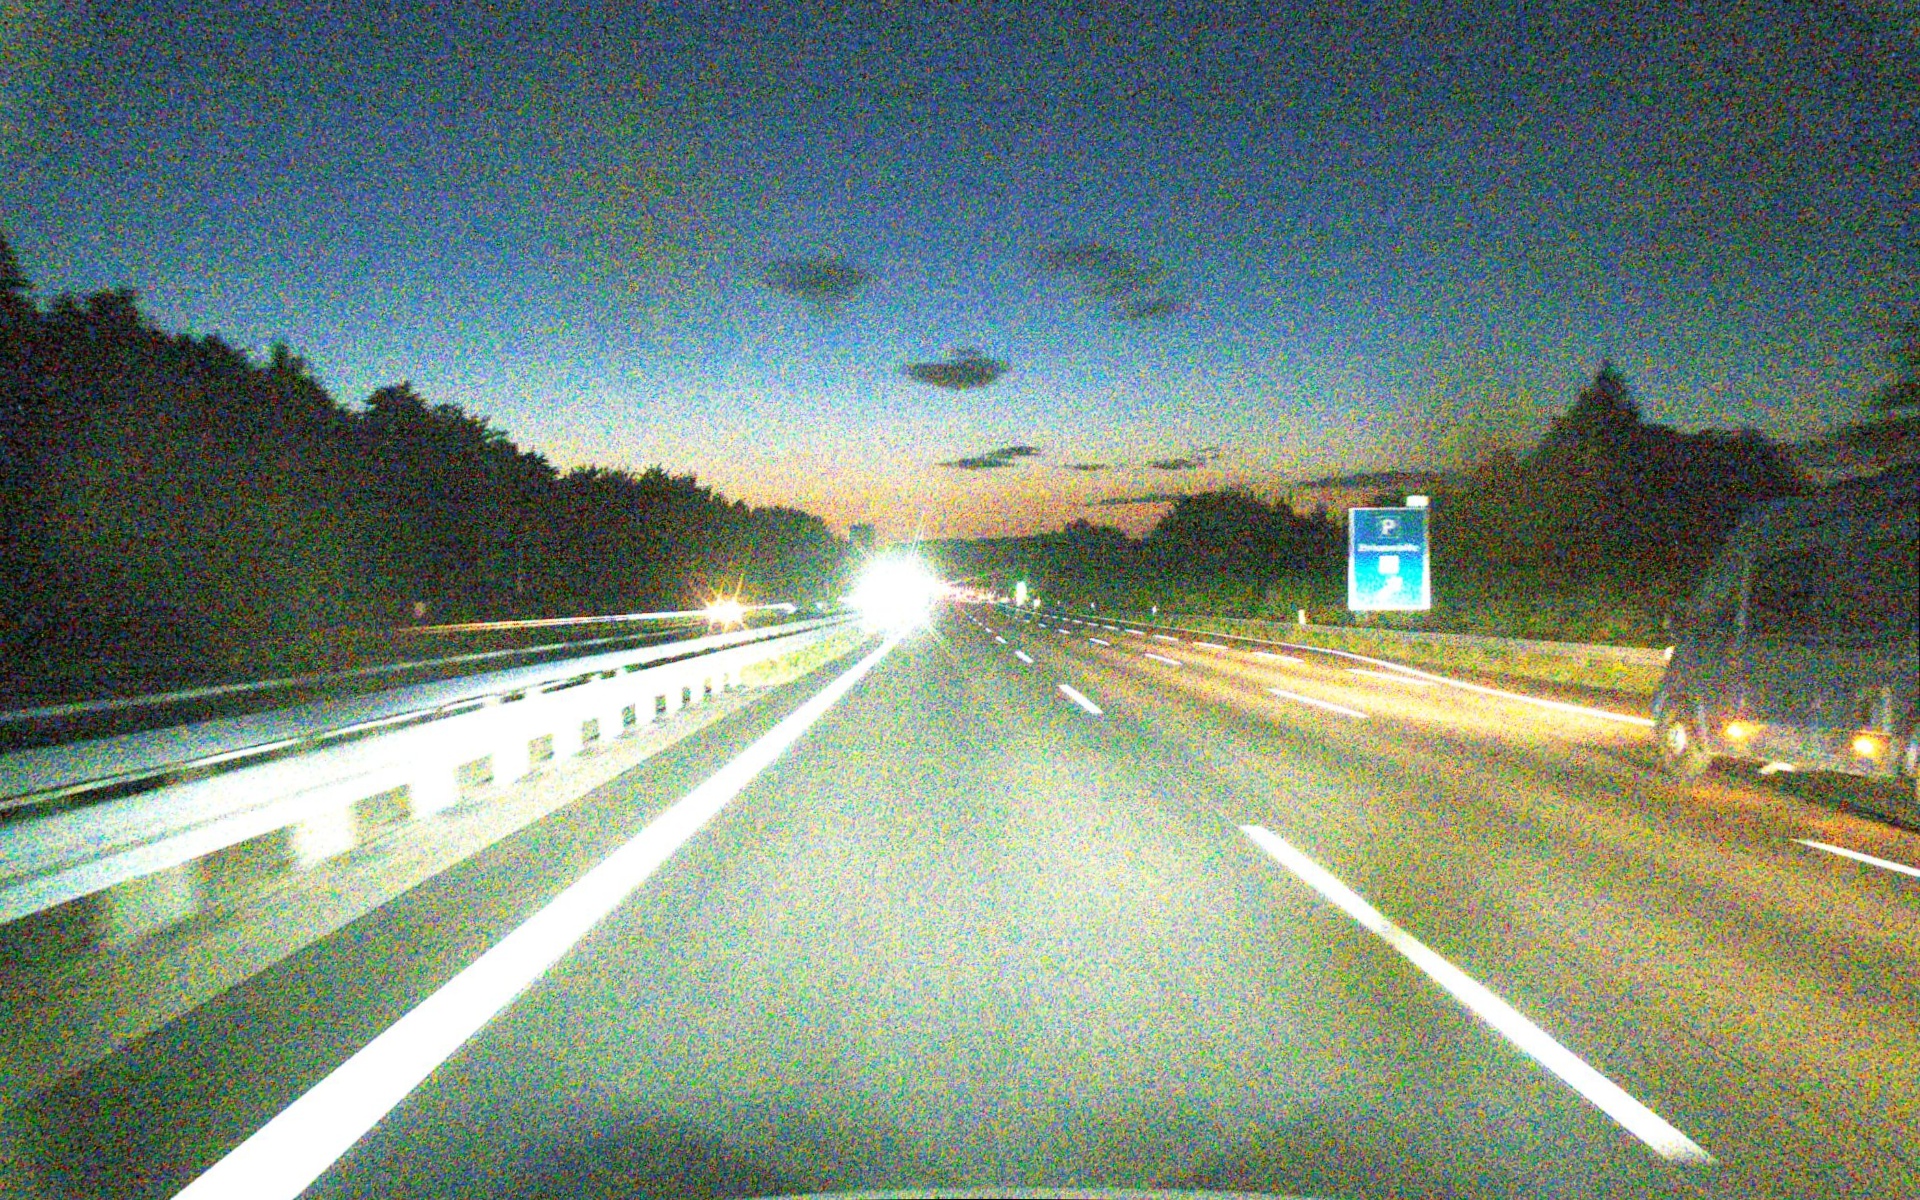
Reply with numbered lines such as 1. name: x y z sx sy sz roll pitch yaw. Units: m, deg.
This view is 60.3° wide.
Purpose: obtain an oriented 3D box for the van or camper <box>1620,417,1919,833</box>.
1. van or camper: 7.584 0.174 12.810 2.162 2.820 6.803 1 0 0

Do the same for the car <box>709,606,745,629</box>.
1. car: -17.348 1.277 123.214 1.953 1.578 5.003 -3 0 -1
